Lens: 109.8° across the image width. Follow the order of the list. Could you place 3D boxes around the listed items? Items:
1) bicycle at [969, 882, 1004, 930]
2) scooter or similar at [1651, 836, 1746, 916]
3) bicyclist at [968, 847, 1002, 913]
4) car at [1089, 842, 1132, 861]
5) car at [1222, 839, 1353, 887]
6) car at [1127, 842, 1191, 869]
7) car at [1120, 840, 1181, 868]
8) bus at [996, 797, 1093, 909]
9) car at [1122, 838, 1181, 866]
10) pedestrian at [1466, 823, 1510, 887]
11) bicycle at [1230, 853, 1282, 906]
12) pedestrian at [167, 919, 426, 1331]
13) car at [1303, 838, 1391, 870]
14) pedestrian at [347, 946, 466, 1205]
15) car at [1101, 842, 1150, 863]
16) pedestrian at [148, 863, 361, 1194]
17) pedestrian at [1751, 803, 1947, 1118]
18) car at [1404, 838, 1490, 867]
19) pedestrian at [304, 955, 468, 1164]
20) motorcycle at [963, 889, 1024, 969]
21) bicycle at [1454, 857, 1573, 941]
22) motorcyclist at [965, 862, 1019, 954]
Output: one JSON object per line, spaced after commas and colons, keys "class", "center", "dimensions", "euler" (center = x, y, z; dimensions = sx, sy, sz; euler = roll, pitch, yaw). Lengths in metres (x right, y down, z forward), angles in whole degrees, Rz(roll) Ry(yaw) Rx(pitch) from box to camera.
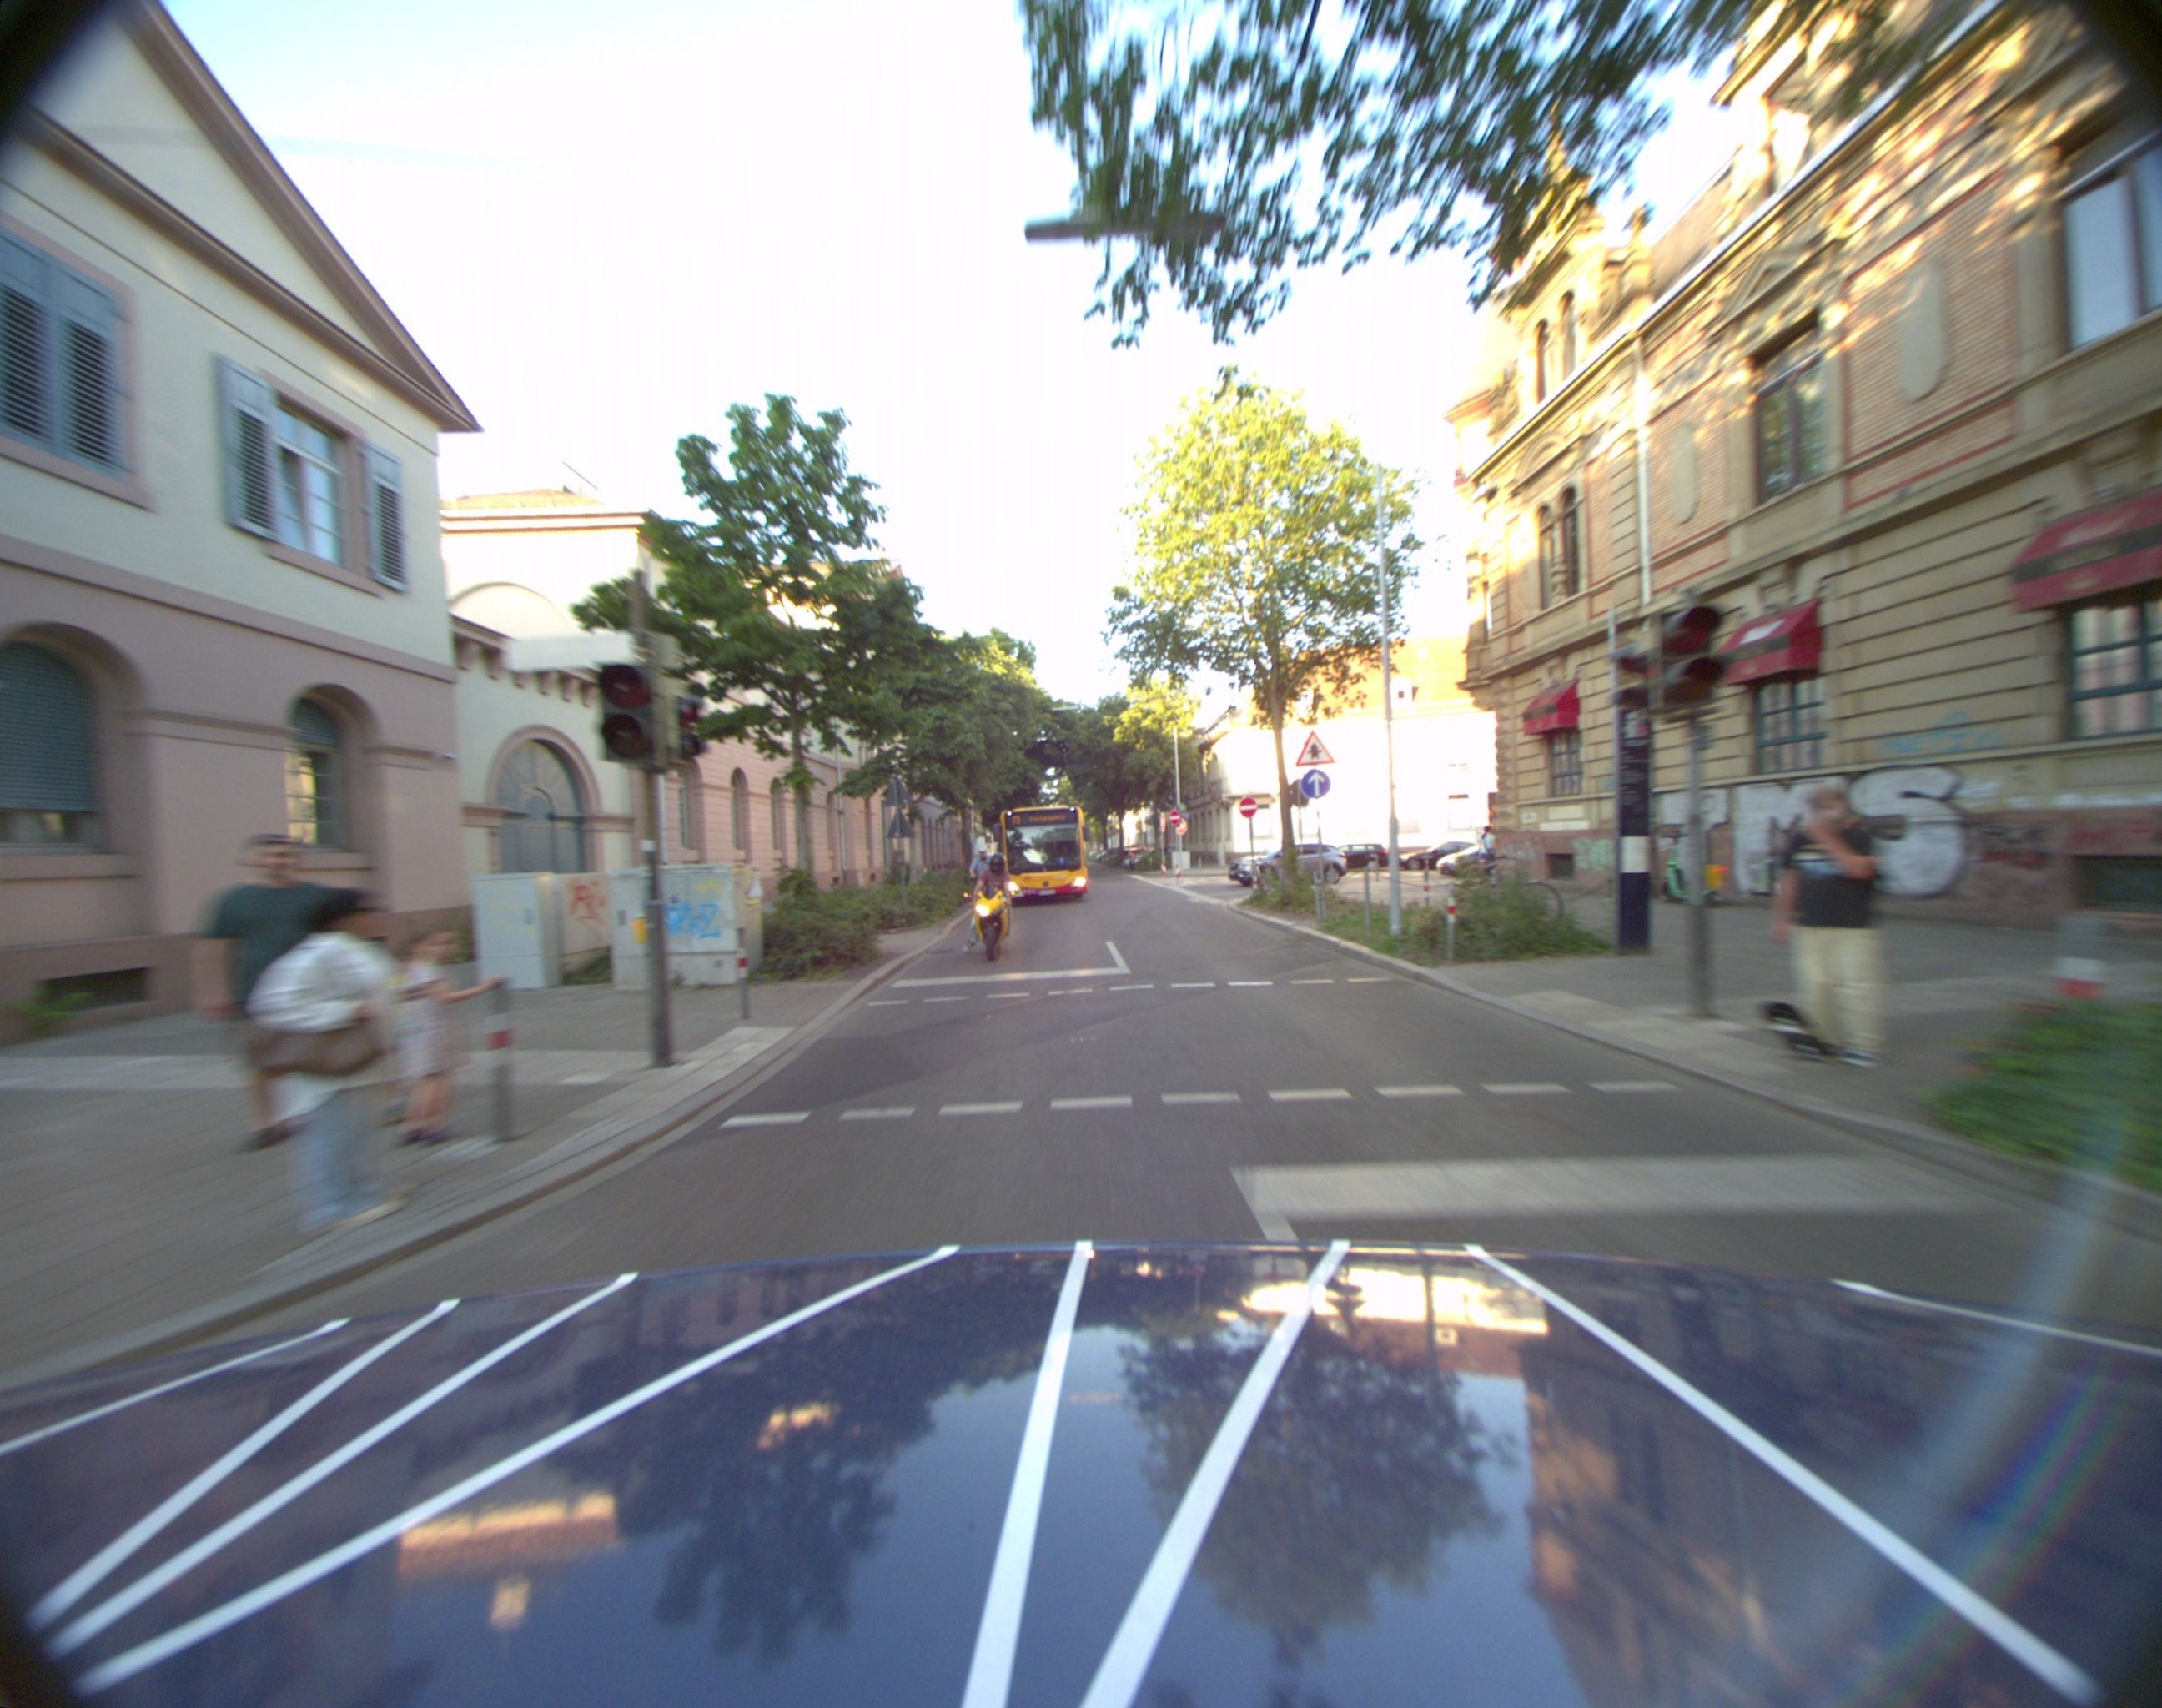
{"class": "bicycle", "center": [-2.285, 1.238, 18.617], "dimensions": [0.637, 0.977, 1.981], "euler": [-5, 0, -3]}
{"class": "scooter or similar", "center": [9.842, 0.342, 12.156], "dimensions": [0.385, 1.191, 1.273], "euler": [-5, 0, -1]}
{"class": "bicyclist", "center": [-2.331, 0.619, 18.592], "dimensions": [0.637, 1.552, 0.818], "euler": [-5, 1, -3]}
{"class": "car", "center": [3.014, -0.271, 78.185], "dimensions": [4.000, 1.699, 1.843], "euler": [-2, 1, -9]}
{"class": "car", "center": [7.758, 0.308, 28.737], "dimensions": [4.360, 1.561, 1.945], "euler": [-2, 2, -11]}
{"class": "car", "center": [5.330, 0.098, 52.191], "dimensions": [4.000, 1.660, 1.798], "euler": [-2, 1, -9]}
{"class": "car", "center": [4.969, -0.001, 54.887], "dimensions": [4.000, 1.801, 1.798], "euler": [-2, 1, -9]}
{"class": "bus", "center": [-1.263, -0.118, 28.591], "dimensions": [2.668, 3.176, 11.894], "euler": [-4, 1, -2]}
{"class": "car", "center": [5.315, -0.156, 57.372], "dimensions": [4.000, 1.940, 1.998], "euler": [-2, 1, -9]}
{"class": "pedestrian", "center": [10.394, 0.029, 19.413], "dimensions": [0.652, 1.556, 0.908], "euler": [-5, 0, 45]}
{"class": "bicycle", "center": [4.620, 0.639, 19.938], "dimensions": [0.805, 1.217, 2.421], "euler": [-6, -2, 23]}
{"class": "pedestrian", "center": [-3.405, 1.085, 3.377], "dimensions": [0.600, 1.503, 0.719], "euler": [-1, 1, -30]}
{"class": "car", "center": [14.132, -0.024, 40.297], "dimensions": [4.261, 1.521, 1.836], "euler": [-2, 1, 23]}
{"class": "pedestrian", "center": [-3.761, 1.186, 4.252], "dimensions": [0.452, 1.254, 0.488], "euler": [-1, 2, -41]}
{"class": "car", "center": [3.910, -0.112, 67.151], "dimensions": [4.000, 1.699, 1.998], "euler": [-2, 1, -9]}
{"class": "pedestrian", "center": [-4.702, 0.943, 4.362], "dimensions": [0.544, 1.764, 0.576], "euler": [0, 1, 0]}
{"class": "pedestrian", "center": [4.878, 0.592, 4.825], "dimensions": [0.832, 1.767, 0.764], "euler": [-5, 2, -38]}
{"class": "car", "center": [18.508, -0.091, 38.567], "dimensions": [3.808, 1.317, 1.836], "euler": [-2, 1, 24]}
{"class": "pedestrian", "center": [-4.310, 1.243, 4.743], "dimensions": [0.492, 1.138, 0.546], "euler": [0, 1, 11]}
{"class": "motorcycle", "center": [-1.469, 1.184, 12.502], "dimensions": [0.738, 1.054, 1.962], "euler": [-3, 2, -12]}
{"class": "bicycle", "center": [6.378, 0.616, 11.322], "dimensions": [0.500, 1.101, 1.799], "euler": [-5, 1, -7]}
{"class": "motorcyclist", "center": [-1.466, 0.862, 12.426], "dimensions": [0.738, 1.404, 0.725], "euler": [-3, 2, -12]}
